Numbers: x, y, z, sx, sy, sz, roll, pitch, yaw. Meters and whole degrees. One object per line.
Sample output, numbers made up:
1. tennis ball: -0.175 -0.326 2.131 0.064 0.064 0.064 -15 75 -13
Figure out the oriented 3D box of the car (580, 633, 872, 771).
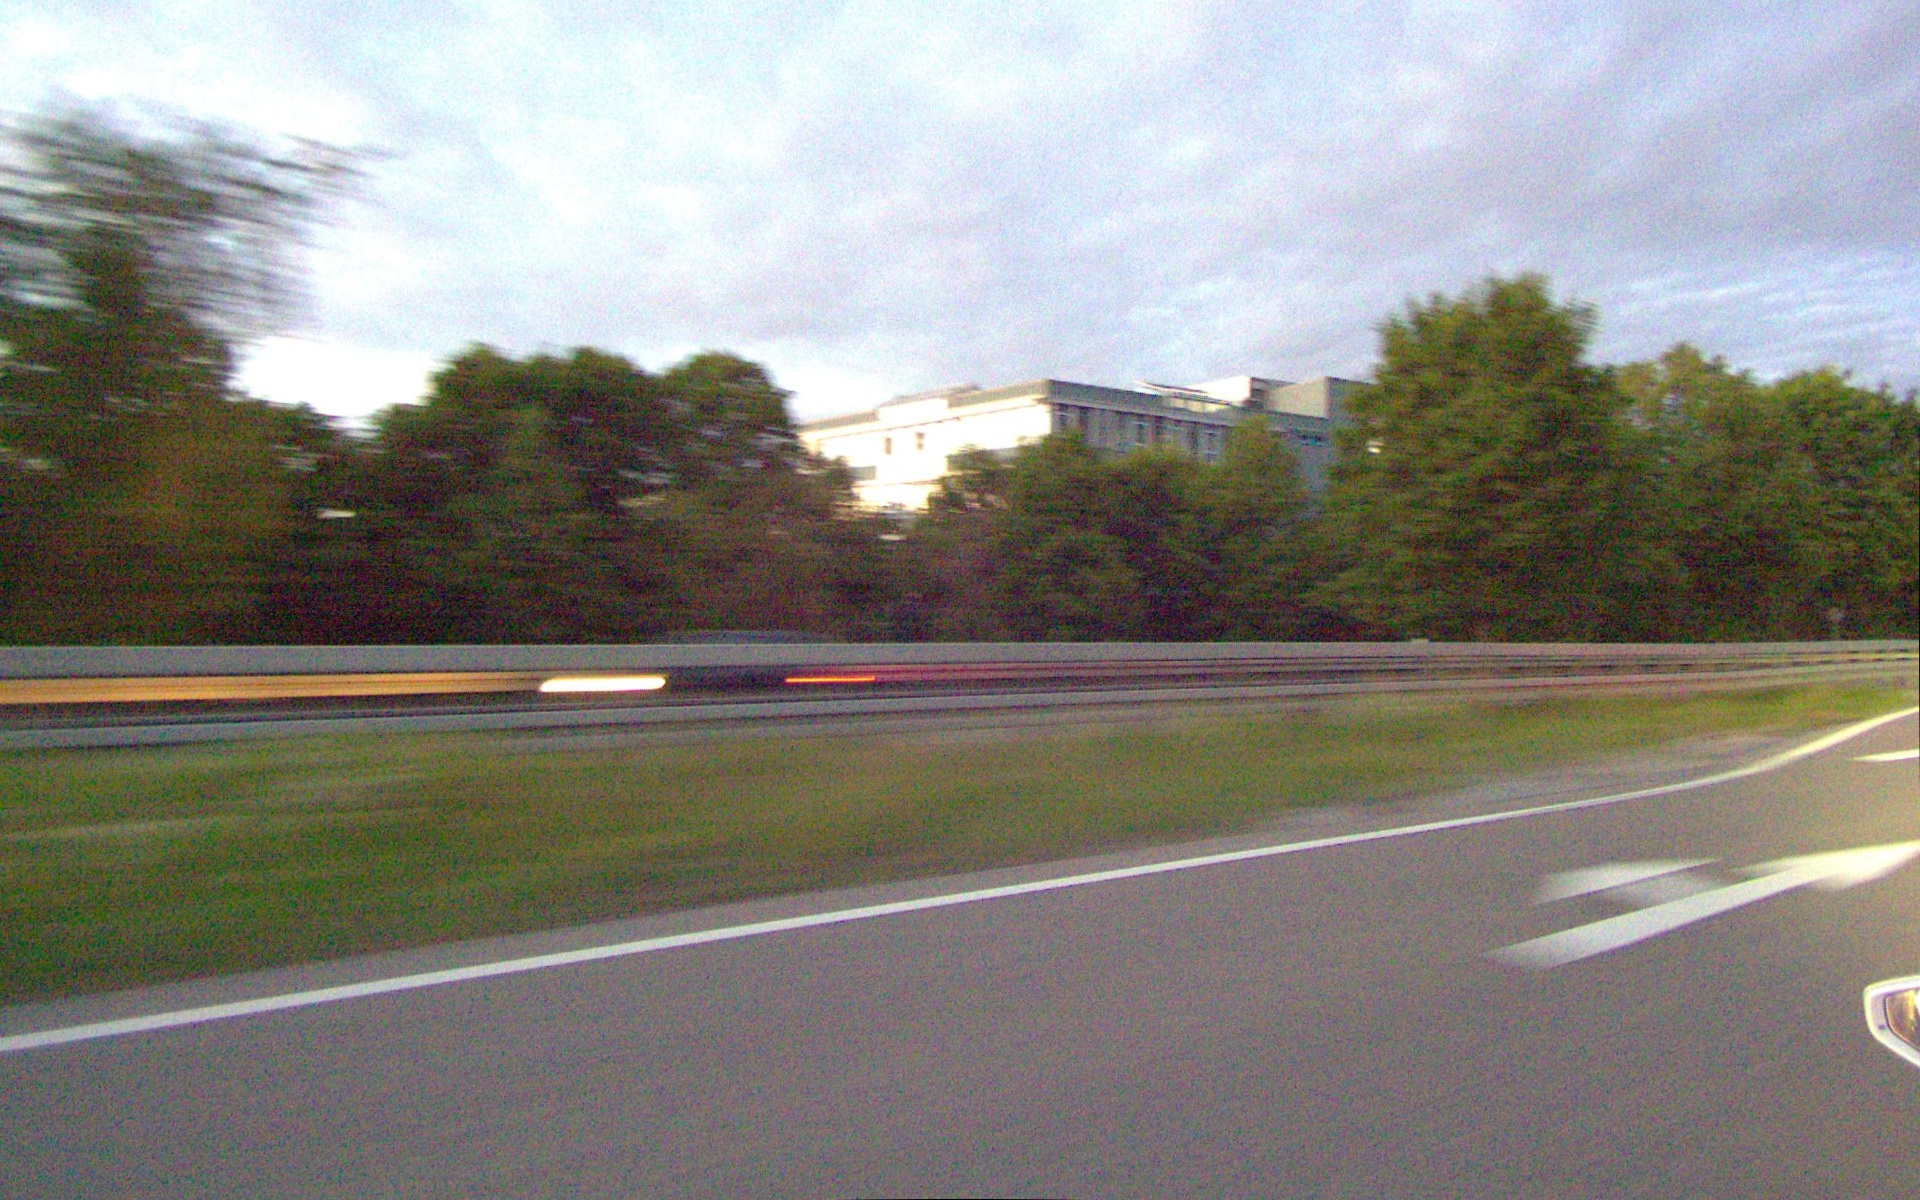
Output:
1. car: -3.475 1.415 15.069 3.953 1.781 1.661 1 0 -31
